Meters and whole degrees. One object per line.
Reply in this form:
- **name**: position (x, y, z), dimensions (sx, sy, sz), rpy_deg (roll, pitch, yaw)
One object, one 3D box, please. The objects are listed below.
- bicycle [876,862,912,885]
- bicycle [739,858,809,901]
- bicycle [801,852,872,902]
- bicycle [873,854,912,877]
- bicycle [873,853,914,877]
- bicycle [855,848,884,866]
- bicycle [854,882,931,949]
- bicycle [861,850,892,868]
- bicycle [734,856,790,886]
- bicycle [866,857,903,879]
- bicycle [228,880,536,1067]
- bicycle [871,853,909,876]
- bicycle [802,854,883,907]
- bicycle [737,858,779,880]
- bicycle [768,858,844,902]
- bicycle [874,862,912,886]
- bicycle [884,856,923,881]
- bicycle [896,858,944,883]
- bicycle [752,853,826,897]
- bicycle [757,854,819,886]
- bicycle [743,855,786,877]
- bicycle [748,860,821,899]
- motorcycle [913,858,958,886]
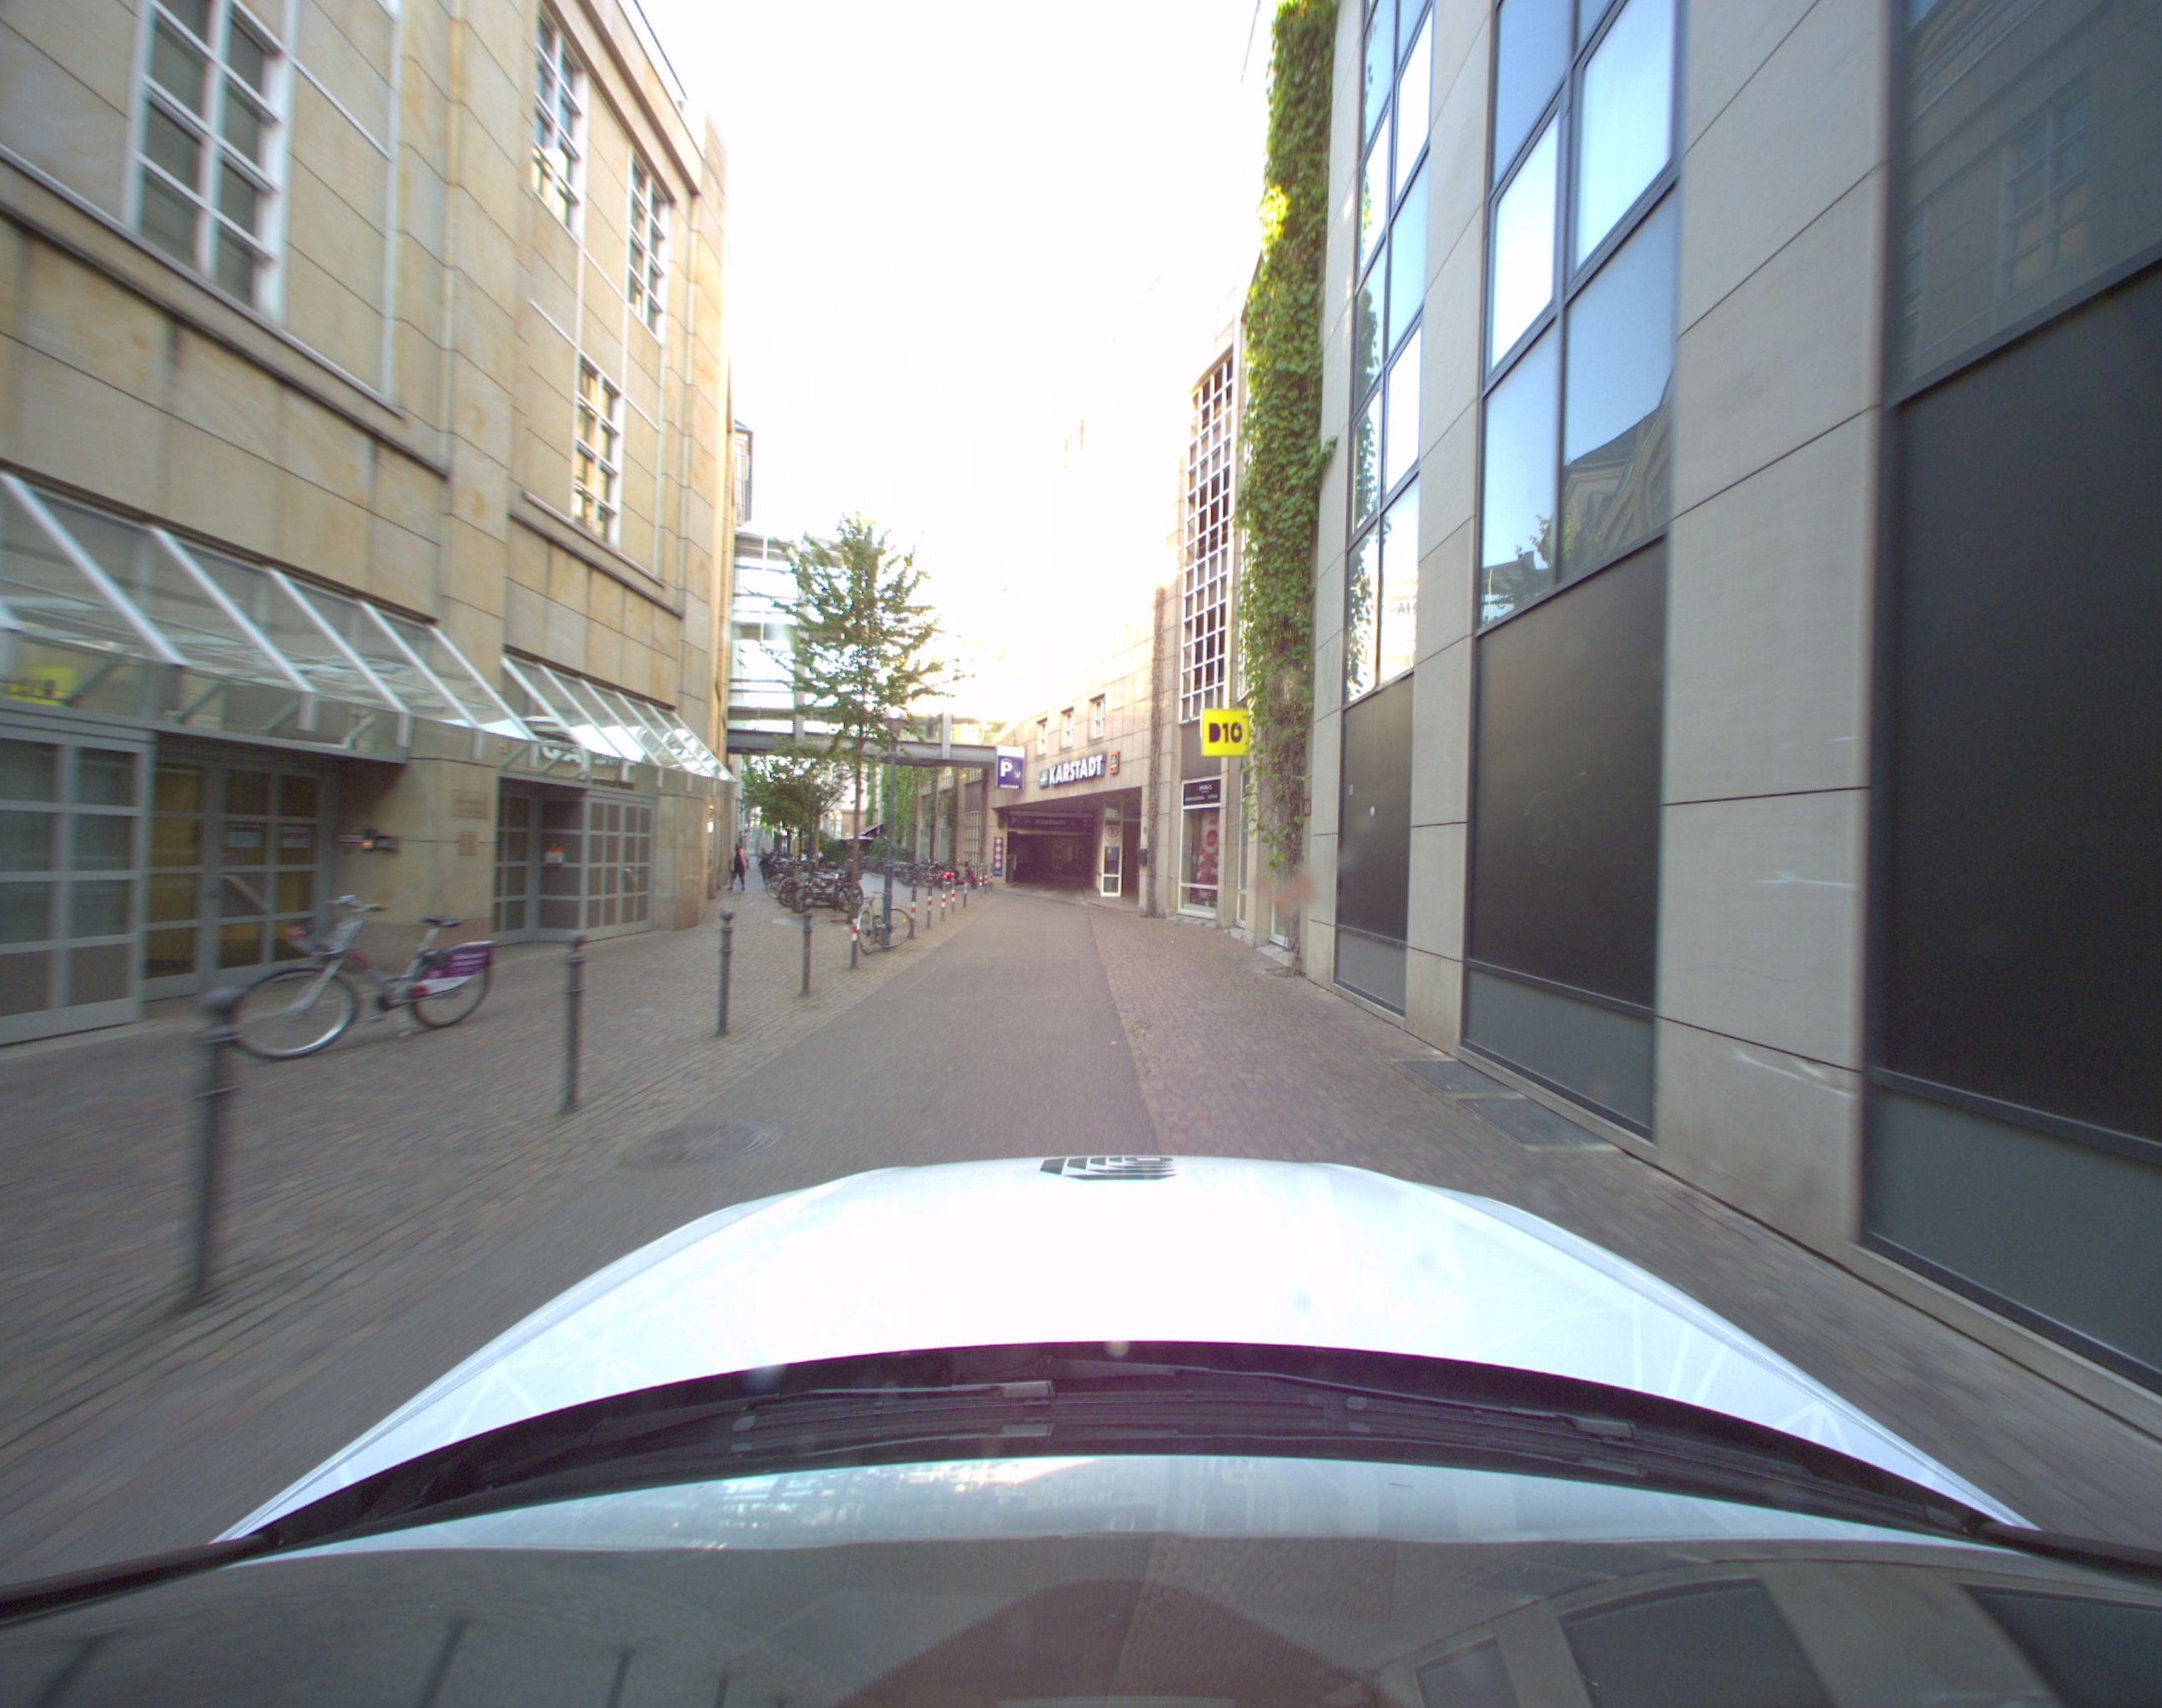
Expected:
- **bicycle**: position (-8.575, 0.888, 37.328), dimensions (1.546, 1.049, 0.571), rpy_deg (1, 0, -24)
- **bicycle**: position (-8.908, 0.731, 23.631), dimensions (1.842, 1.225, 0.530), rpy_deg (1, 0, -26)
- **bicycle**: position (-6.231, 0.578, 20.764), dimensions (1.662, 1.231, 0.530), rpy_deg (1, 0, -26)
- **bicycle**: position (-9.143, 0.552, 39.513), dimensions (1.781, 1.114, 0.538), rpy_deg (1, 0, -24)
- **bicycle**: position (-8.890, 0.507, 38.623), dimensions (1.781, 1.114, 0.538), rpy_deg (1, 0, -24)
- **bicycle**: position (-14.266, 0.207, 54.990), dimensions (1.781, 1.190, 0.582), rpy_deg (1, 0, -24)
- **bicycle**: position (-2.989, 0.949, 13.077), dimensions (0.489, 0.939, 1.665), rpy_deg (2, 0, 12)
- **bicycle**: position (-12.512, 0.304, 49.803), dimensions (1.779, 1.114, 0.539), rpy_deg (1, 0, -21)
- **bicycle**: position (-11.360, 0.614, 29.031), dimensions (1.834, 1.043, 0.530), rpy_deg (1, 0, -26)
- **bicycle**: position (-10.070, 0.722, 41.681), dimensions (1.781, 1.114, 0.538), rpy_deg (1, 0, -24)
- **bicycle**: position (-5.129, 0.799, 6.154), dimensions (0.518, 1.138, 1.771), rpy_deg (1, 0, 14)
- **bicycle**: position (-9.559, 0.507, 40.690), dimensions (1.781, 1.114, 0.538), rpy_deg (1, 0, -24)
- **bicycle**: position (-5.686, 0.620, 19.439), dimensions (1.775, 1.231, 0.530), rpy_deg (1, 0, -26)
- **bicycle**: position (-15.149, 0.696, 38.198), dimensions (1.788, 1.019, 0.477), rpy_deg (1, 0, -26)
- **bicycle**: position (-7.284, 0.667, 21.570), dimensions (1.845, 1.122, 0.530), rpy_deg (1, 0, -26)
- **bicycle**: position (-8.299, 0.867, 35.911), dimensions (1.546, 1.049, 0.571), rpy_deg (1, 0, -24)
- **bicycle**: position (-7.620, 0.618, 34.976), dimensions (1.546, 1.049, 0.571), rpy_deg (1, 0, -24)
- **bicycle**: position (-6.554, 0.675, 33.253), dimensions (1.856, 0.982, 0.460), rpy_deg (1, 0, -24)
- **bicycle**: position (-8.055, 0.578, 22.479), dimensions (1.881, 1.177, 0.530), rpy_deg (1, 0, -26)
- **bicycle**: position (-9.837, 0.545, 27.363), dimensions (1.886, 1.043, 0.530), rpy_deg (1, 0, -26)
- **bicycle**: position (-14.535, 0.542, 37.398), dimensions (1.788, 1.019, 0.477), rpy_deg (1, 0, -26)
- **bicycle**: position (-8.360, 0.712, 22.990), dimensions (1.903, 1.052, 0.530), rpy_deg (1, 0, -26)
- **motorcycle**: position (-5.651, 0.694, 31.664), dimensions (1.670, 1.050, 0.460), rpy_deg (1, 0, -24)
